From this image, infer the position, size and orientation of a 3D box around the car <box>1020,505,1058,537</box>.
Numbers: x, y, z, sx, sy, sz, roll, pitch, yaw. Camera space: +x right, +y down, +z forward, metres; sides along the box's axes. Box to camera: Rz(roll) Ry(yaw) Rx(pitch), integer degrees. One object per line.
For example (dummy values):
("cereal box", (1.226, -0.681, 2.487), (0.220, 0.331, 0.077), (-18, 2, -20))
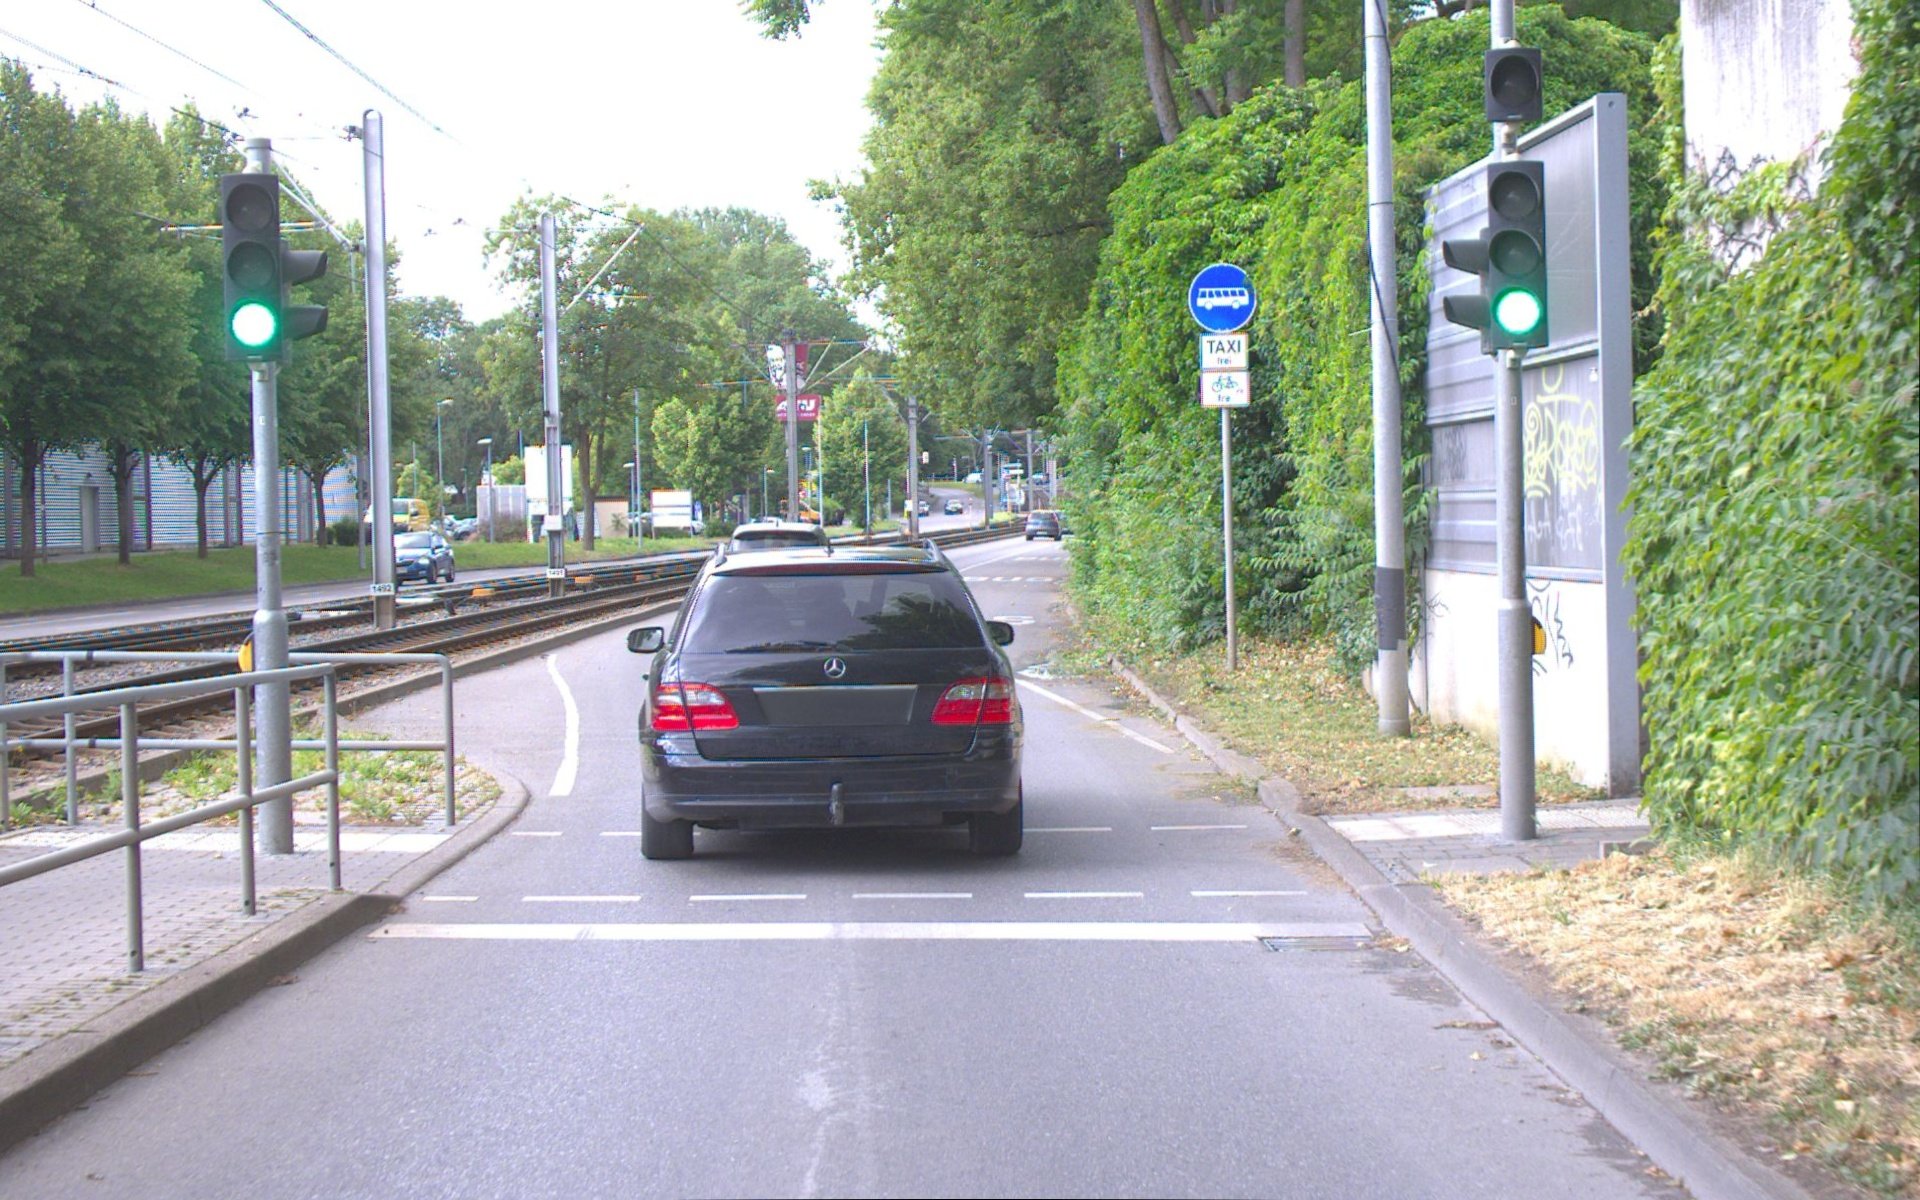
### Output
("car", (3.898, -3.907, 169.437), (1.825, 1.524, 4.416), (-1, 1, 2))

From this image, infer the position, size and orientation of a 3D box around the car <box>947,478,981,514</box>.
("car", (0.227, -6.028, 200.279), (1.891, 2.007, 3.898), (-2, 1, 0))

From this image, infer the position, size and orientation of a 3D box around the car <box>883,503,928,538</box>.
("car", (-2.450, -3.604, 155.440), (1.825, 1.524, 3.986), (0, 2, 2))

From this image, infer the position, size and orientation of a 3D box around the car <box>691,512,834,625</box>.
("car", (-2.794, -0.487, 49.460), (1.825, 1.524, 4.416), (0, 2, 0))

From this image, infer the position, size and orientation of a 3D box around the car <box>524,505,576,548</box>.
("car", (-19.827, -3.568, 166.439), (1.993, 2.007, 4.000), (-2, 1, 0))

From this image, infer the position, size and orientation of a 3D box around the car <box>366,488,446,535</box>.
("car", (-21.815, -3.493, 135.524), (1.994, 1.737, 4.987), (-2, 2, 4))

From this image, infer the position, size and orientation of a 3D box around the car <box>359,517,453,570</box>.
("car", (-15.103, -1.564, 93.933), (1.660, 1.388, 3.718), (0, 2, 5))

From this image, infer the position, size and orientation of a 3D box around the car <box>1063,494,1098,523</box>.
("car", (6.396, -4.885, 182.777), (1.825, 1.524, 4.179), (0, 2, 2))

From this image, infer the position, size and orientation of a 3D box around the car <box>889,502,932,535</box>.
("car", (-2.286, -3.823, 160.368), (1.825, 1.524, 3.986), (0, 2, 2))

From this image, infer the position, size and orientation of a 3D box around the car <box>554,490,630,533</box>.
("car", (-19.951, -4.794, 186.517), (3.986, 2.116, 2.000), (-3, 1, -4))

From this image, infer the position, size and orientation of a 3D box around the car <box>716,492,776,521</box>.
("car", (-13.653, -5.973, 218.778), (3.692, 1.809, 1.795), (-1, 2, -7))

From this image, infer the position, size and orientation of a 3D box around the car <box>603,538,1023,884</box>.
("car", (-0.616, 0.446, 17.248), (1.833, 1.473, 4.416), (0, 2, 1))

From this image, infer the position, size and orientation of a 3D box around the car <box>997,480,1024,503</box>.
("car", (3.514, -7.515, 237.796), (1.825, 1.524, 4.179), (0, 2, 2))
